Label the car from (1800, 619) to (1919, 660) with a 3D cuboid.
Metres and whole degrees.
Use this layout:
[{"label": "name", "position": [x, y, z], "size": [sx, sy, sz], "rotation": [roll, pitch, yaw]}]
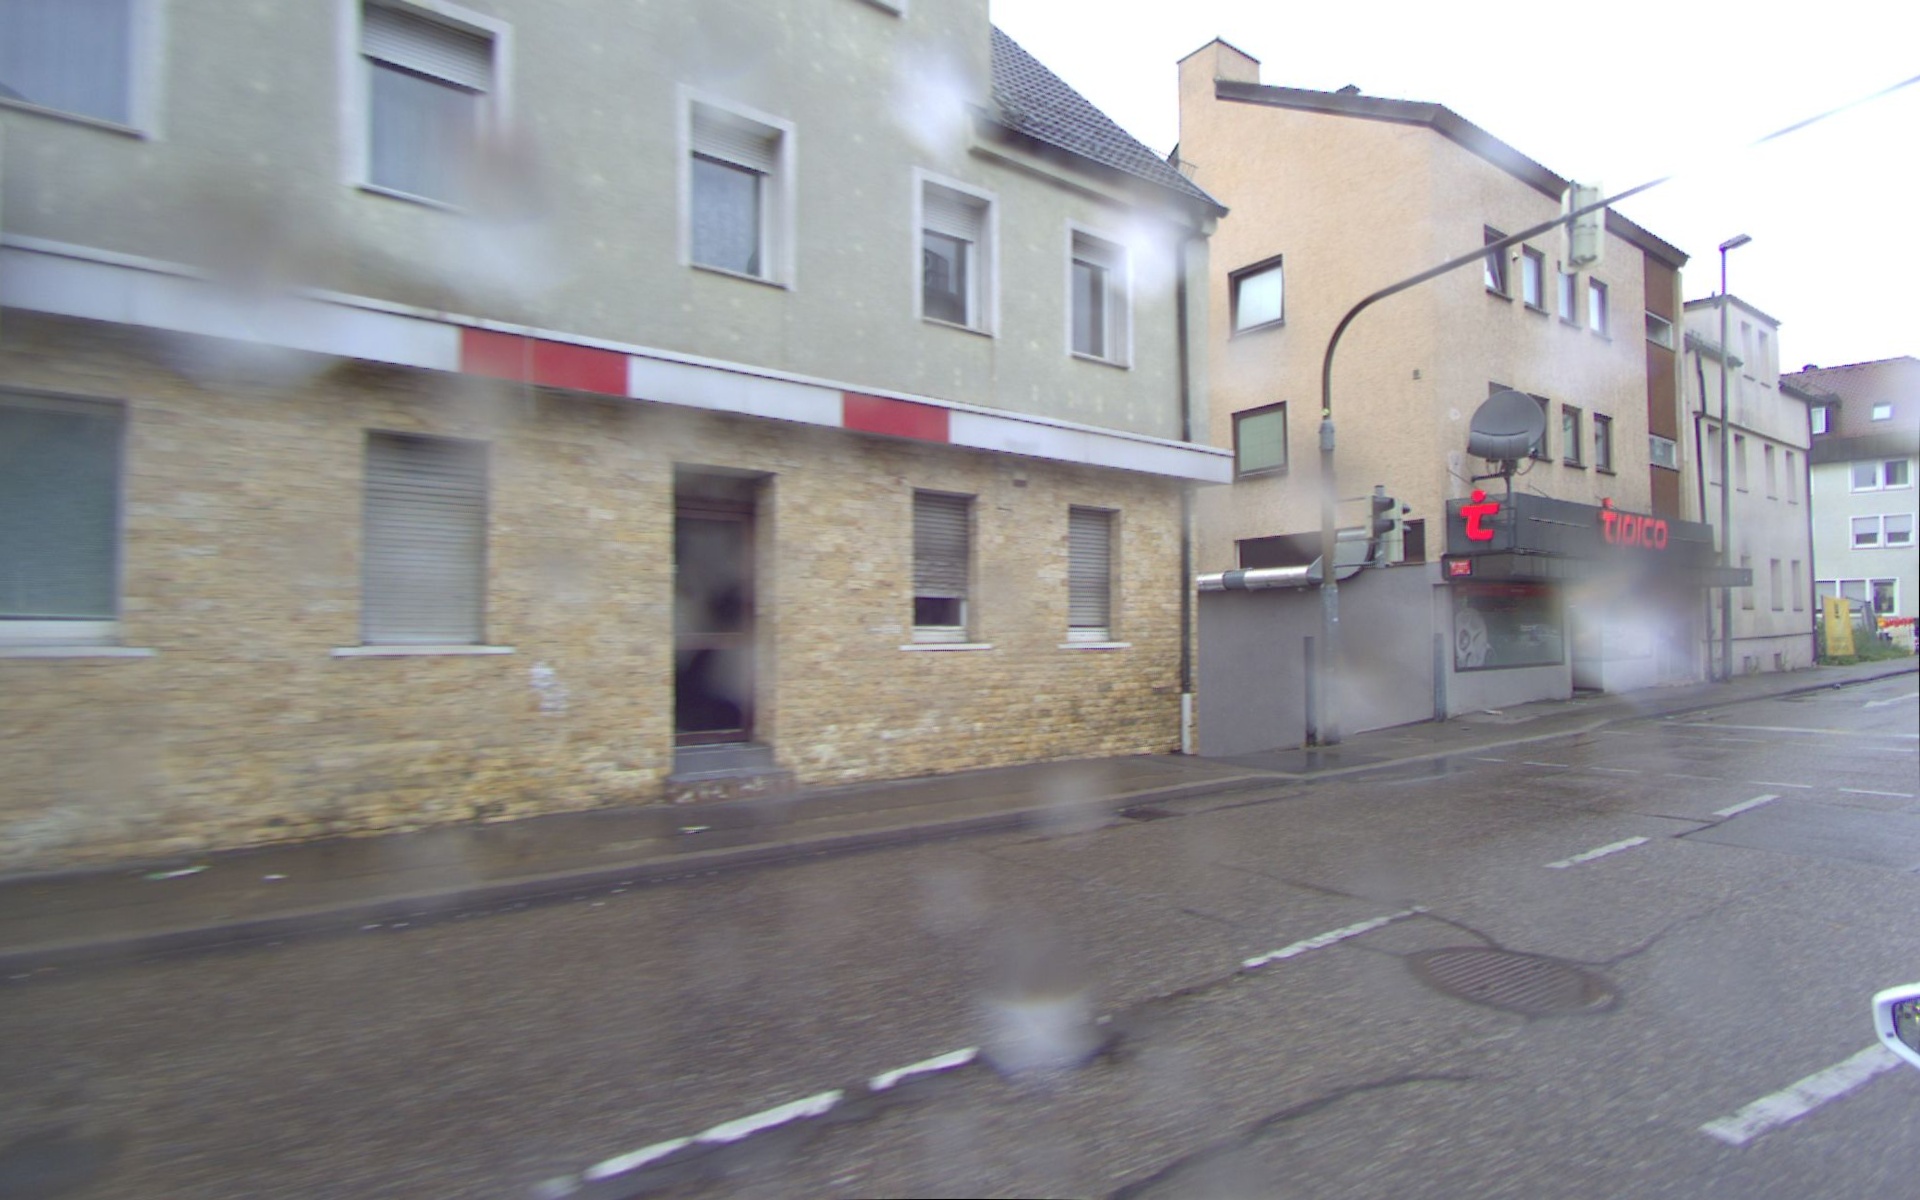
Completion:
[{"label": "car", "position": [41.162, 1.837, 46.019], "size": [3.968, 1.404, 1.784], "rotation": [-10, -5, 42]}]
